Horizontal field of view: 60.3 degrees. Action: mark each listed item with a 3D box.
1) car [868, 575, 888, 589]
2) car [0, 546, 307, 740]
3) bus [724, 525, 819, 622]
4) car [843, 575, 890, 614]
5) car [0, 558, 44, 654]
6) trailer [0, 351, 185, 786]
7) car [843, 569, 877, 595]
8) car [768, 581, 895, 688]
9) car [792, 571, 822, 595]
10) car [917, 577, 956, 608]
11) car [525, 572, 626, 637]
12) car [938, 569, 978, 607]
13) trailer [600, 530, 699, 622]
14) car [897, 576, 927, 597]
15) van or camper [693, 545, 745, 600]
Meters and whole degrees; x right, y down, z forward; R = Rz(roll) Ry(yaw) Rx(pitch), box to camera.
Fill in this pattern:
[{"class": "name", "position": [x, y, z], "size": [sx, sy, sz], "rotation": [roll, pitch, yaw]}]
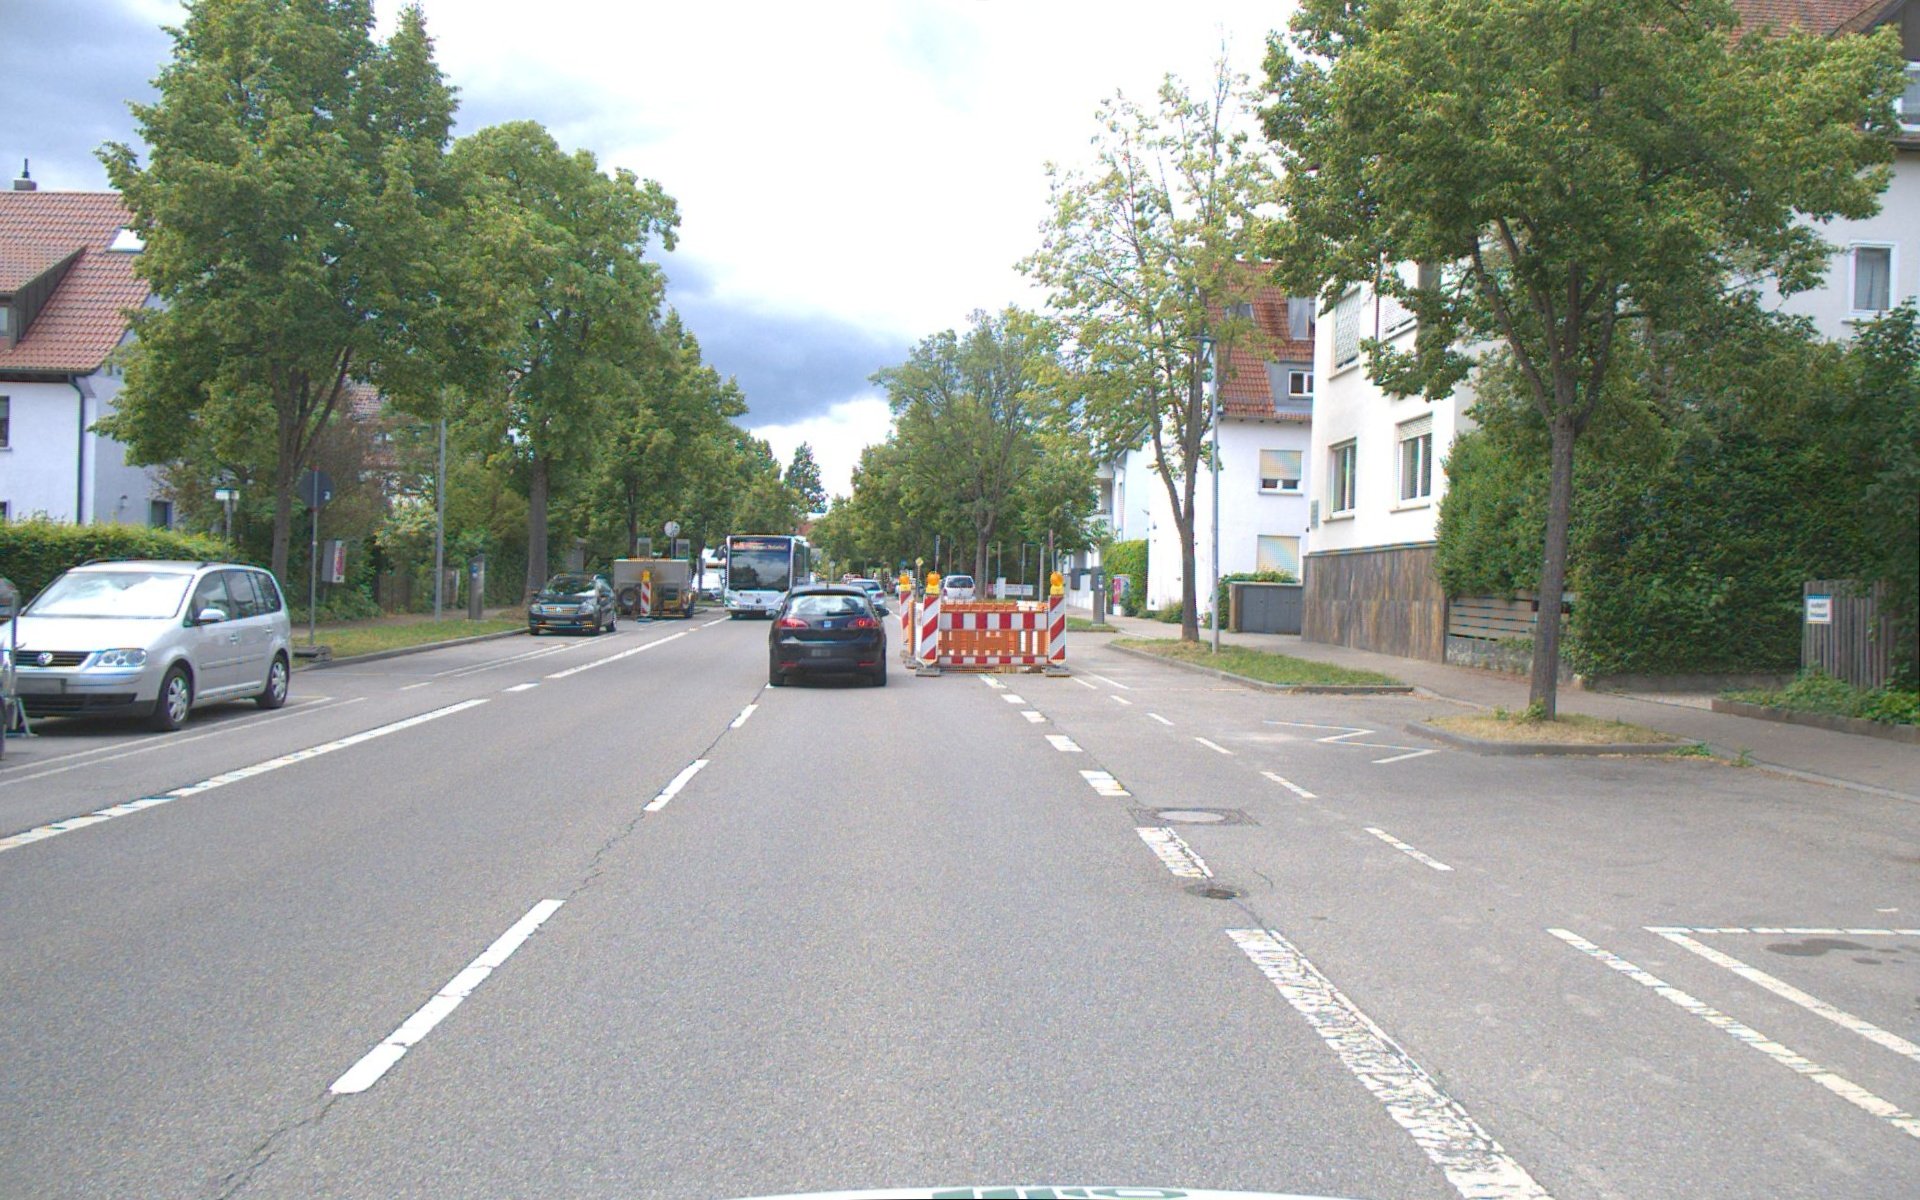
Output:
[{"class": "car", "position": [-8.722, -1.929, 175.494], "size": [1.652, 1.457, 4.036], "rotation": [1, 1, -9]}, {"class": "car", "position": [-8.286, 0.379, 16.947], "size": [1.655, 1.713, 4.223], "rotation": [1, 0, -3]}, {"class": "bus", "position": [-7.441, -0.950, 67.707], "size": [2.749, 3.346, 18.033], "rotation": [1, 0, -3]}, {"class": "car", "position": [-4.008, -0.255, 71.574], "size": [1.953, 1.585, 3.998], "rotation": [1, 1, -2]}, {"class": "car", "position": [-16.750, 0.022, 25.738], "size": [3.994, 1.458, 1.802], "rotation": [2, 1, 4]}, {"class": "trailer", "position": [-7.840, -0.216, 10.630], "size": [2.323, 3.014, 7.011], "rotation": [0, 1, 1]}, {"class": "car", "position": [-6.397, -1.150, 105.692], "size": [1.955, 1.556, 3.995], "rotation": [1, 1, -6]}, {"class": "car", "position": [-1.986, 0.463, 24.828], "size": [1.749, 1.474, 3.553], "rotation": [1, 0, -7]}, {"class": "car", "position": [-10.957, -1.235, 118.850], "size": [1.954, 1.697, 4.587], "rotation": [-1, 1, -3]}, {"class": "car", "position": [-1.205, -0.399, 82.663], "size": [1.654, 1.519, 4.223], "rotation": [0, 1, -5]}, {"class": "car", "position": [-9.997, 0.154, 43.319], "size": [1.823, 1.580, 4.616], "rotation": [1, -1, -4]}, {"class": "car", "position": [-0.106, -0.569, 76.978], "size": [1.600, 1.694, 3.645], "rotation": [1, 1, -4]}, {"class": "trailer", "position": [-10.822, -0.796, 58.282], "size": [2.622, 2.992, 7.468], "rotation": [1, 0, -5]}, {"class": "car", "position": [-3.502, -0.986, 120.478], "size": [1.981, 1.468, 5.021], "rotation": [1, 1, -4]}, {"class": "van or camper", "position": [-13.893, -1.577, 95.682], "size": [2.387, 3.062, 7.687], "rotation": [1, 1, -4]}]
